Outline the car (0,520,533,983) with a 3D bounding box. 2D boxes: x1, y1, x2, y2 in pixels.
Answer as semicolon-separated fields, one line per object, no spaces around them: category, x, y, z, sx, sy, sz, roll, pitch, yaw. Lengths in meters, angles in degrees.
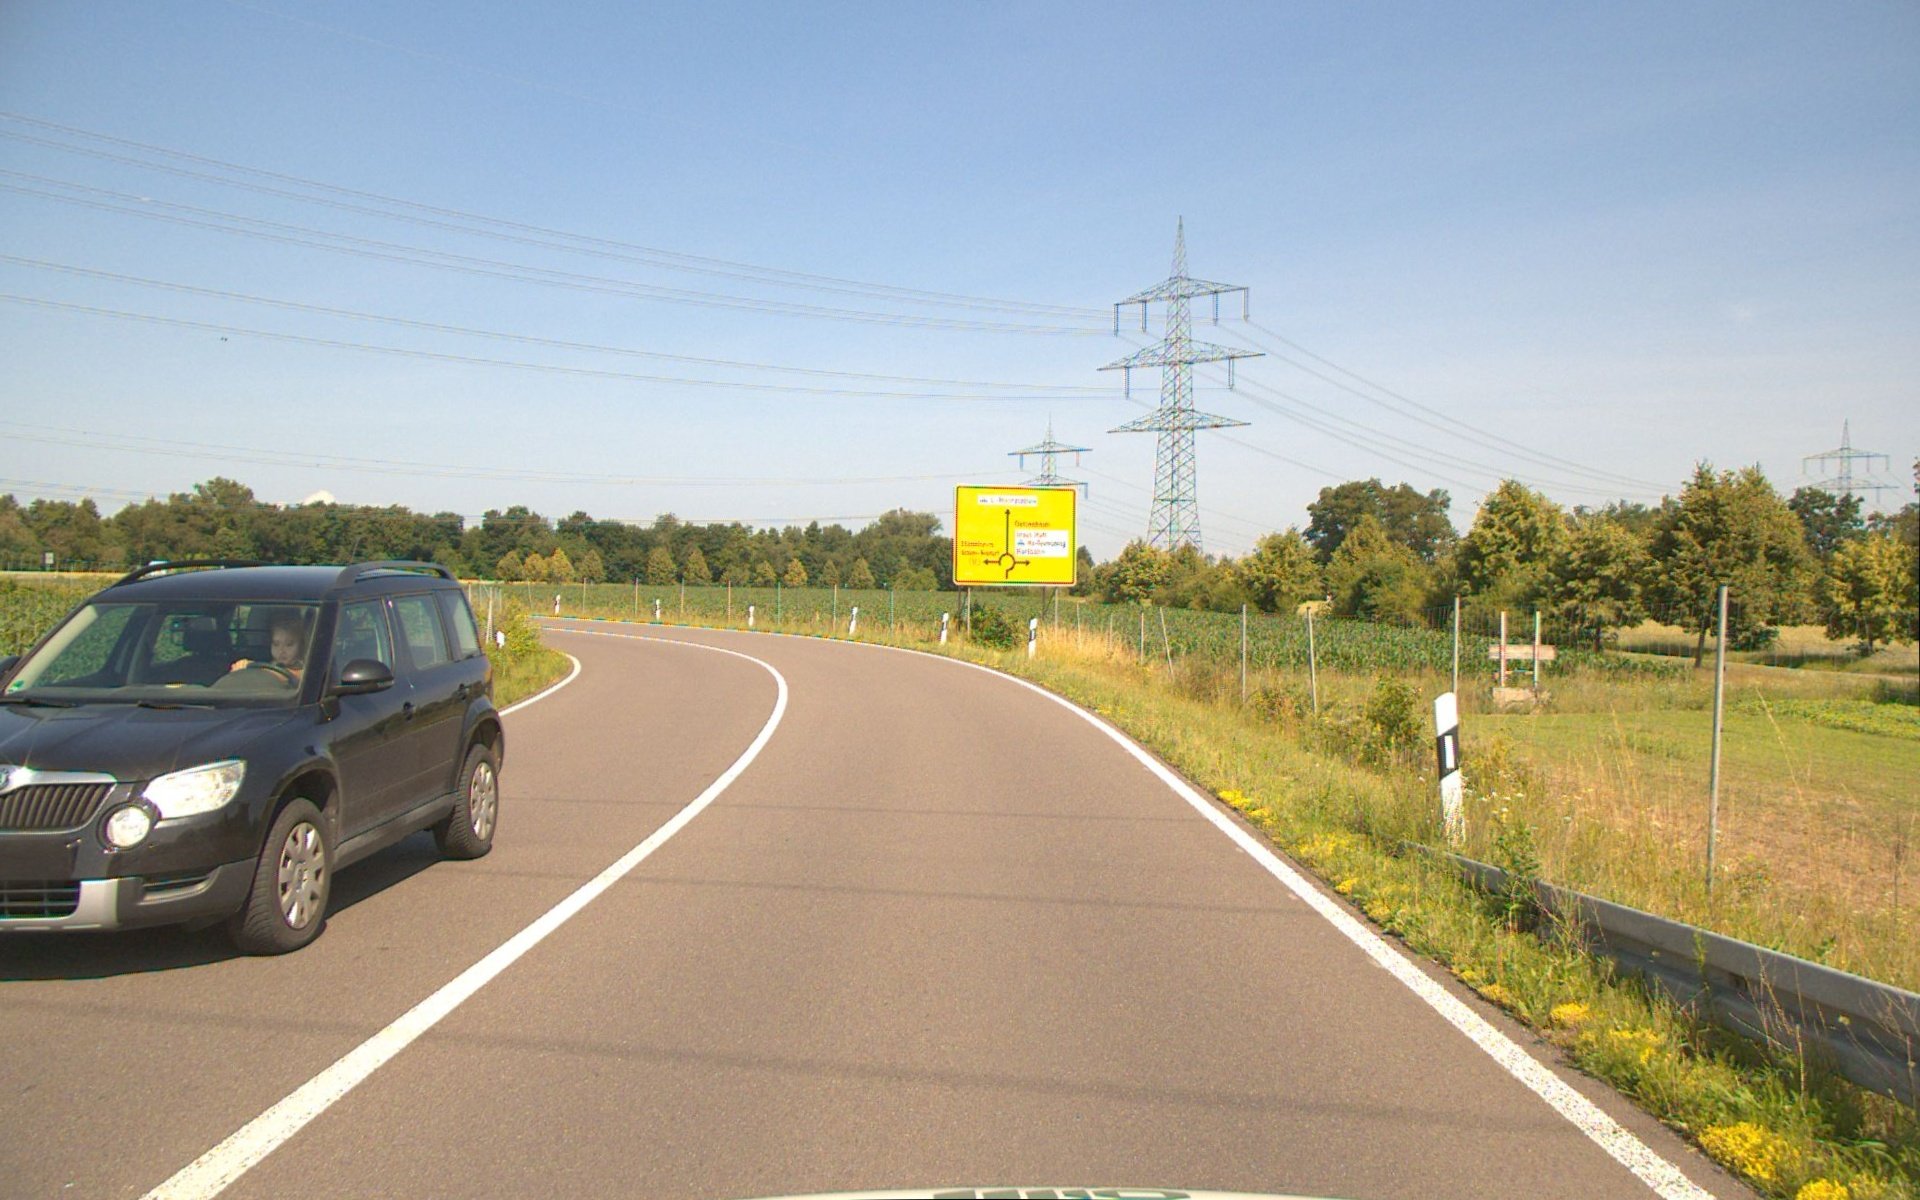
car;-3.698;0.587;8.364;1.943;1.736;4.261;-1;0;0
